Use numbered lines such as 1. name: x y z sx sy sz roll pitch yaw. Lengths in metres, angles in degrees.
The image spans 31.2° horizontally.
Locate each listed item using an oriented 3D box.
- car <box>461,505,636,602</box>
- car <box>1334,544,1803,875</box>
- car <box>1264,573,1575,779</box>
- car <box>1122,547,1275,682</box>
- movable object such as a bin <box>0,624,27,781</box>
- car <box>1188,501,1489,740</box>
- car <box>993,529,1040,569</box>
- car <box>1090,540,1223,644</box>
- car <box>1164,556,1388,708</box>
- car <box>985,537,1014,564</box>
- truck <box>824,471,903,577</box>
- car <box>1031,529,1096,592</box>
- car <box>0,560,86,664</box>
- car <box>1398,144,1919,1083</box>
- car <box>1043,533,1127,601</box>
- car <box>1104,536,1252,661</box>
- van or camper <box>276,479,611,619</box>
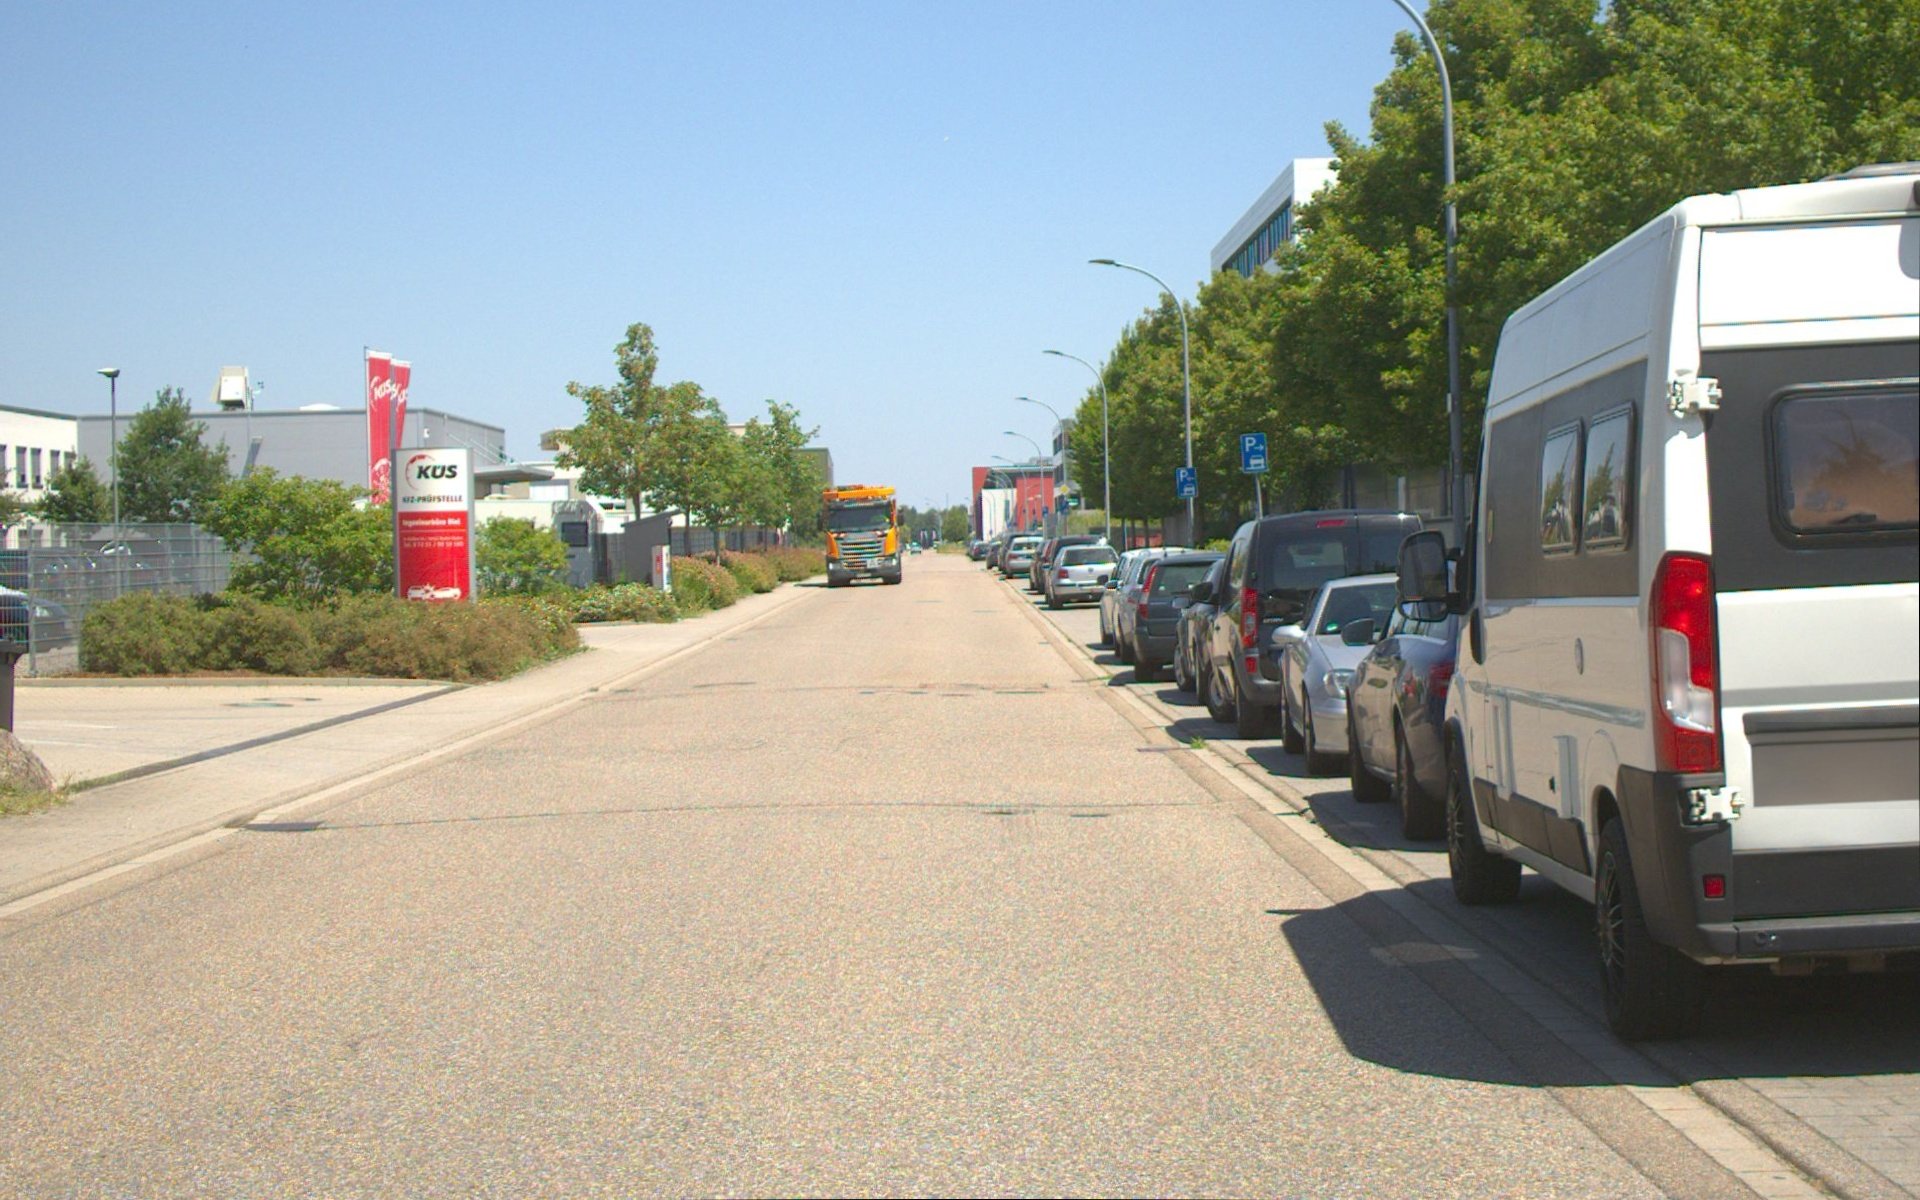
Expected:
1. car: -11.564 -1.320 96.795 4.714 2.577 2.000 -2 1 -4
2. car: 3.137 0.488 18.600 1.828 1.488 4.478 -2 1 2
3. car: 3.140 0.485 24.200 1.711 1.283 4.115 -2 0 2
4. car: 2.927 0.136 41.726 1.709 1.499 4.705 -2 1 5
5. movable object such as a bin: -6.872 0.705 23.858 0.579 1.062 0.765 1 1 0
6. car: 3.122 0.142 29.245 1.993 1.819 4.354 -2 0 0
7. car: 2.048 -1.869 125.493 1.585 1.405 3.500 -1 1 0
8. car: 3.001 -0.150 53.106 1.636 1.464 3.746 -2 1 -2
9. car: 3.209 0.291 35.746 1.850 1.426 4.713 -2 1 0
10. car: 2.180 -2.745 190.054 1.495 1.405 3.500 -1 1 0
11. truck: -3.345 -2.697 121.010 2.448 3.501 8.273 -2 1 0
12. car: 2.880 -1.133 96.311 1.722 1.688 3.984 -1 1 1
13. car: -15.433 0.198 53.125 3.500 1.546 1.558 -1 1 -5
14. car: 3.033 -0.033 12.255 2.267 2.489 6.152 -2 1 2
15. car: 2.839 -0.764 78.472 1.718 1.445 3.646 -2 1 0
16. car: 2.970 -0.058 47.524 1.748 1.556 4.506 -2 1 1
17. van or camper: -12.022 -1.198 80.473 7.384 3.027 2.790 -1 1 -1
